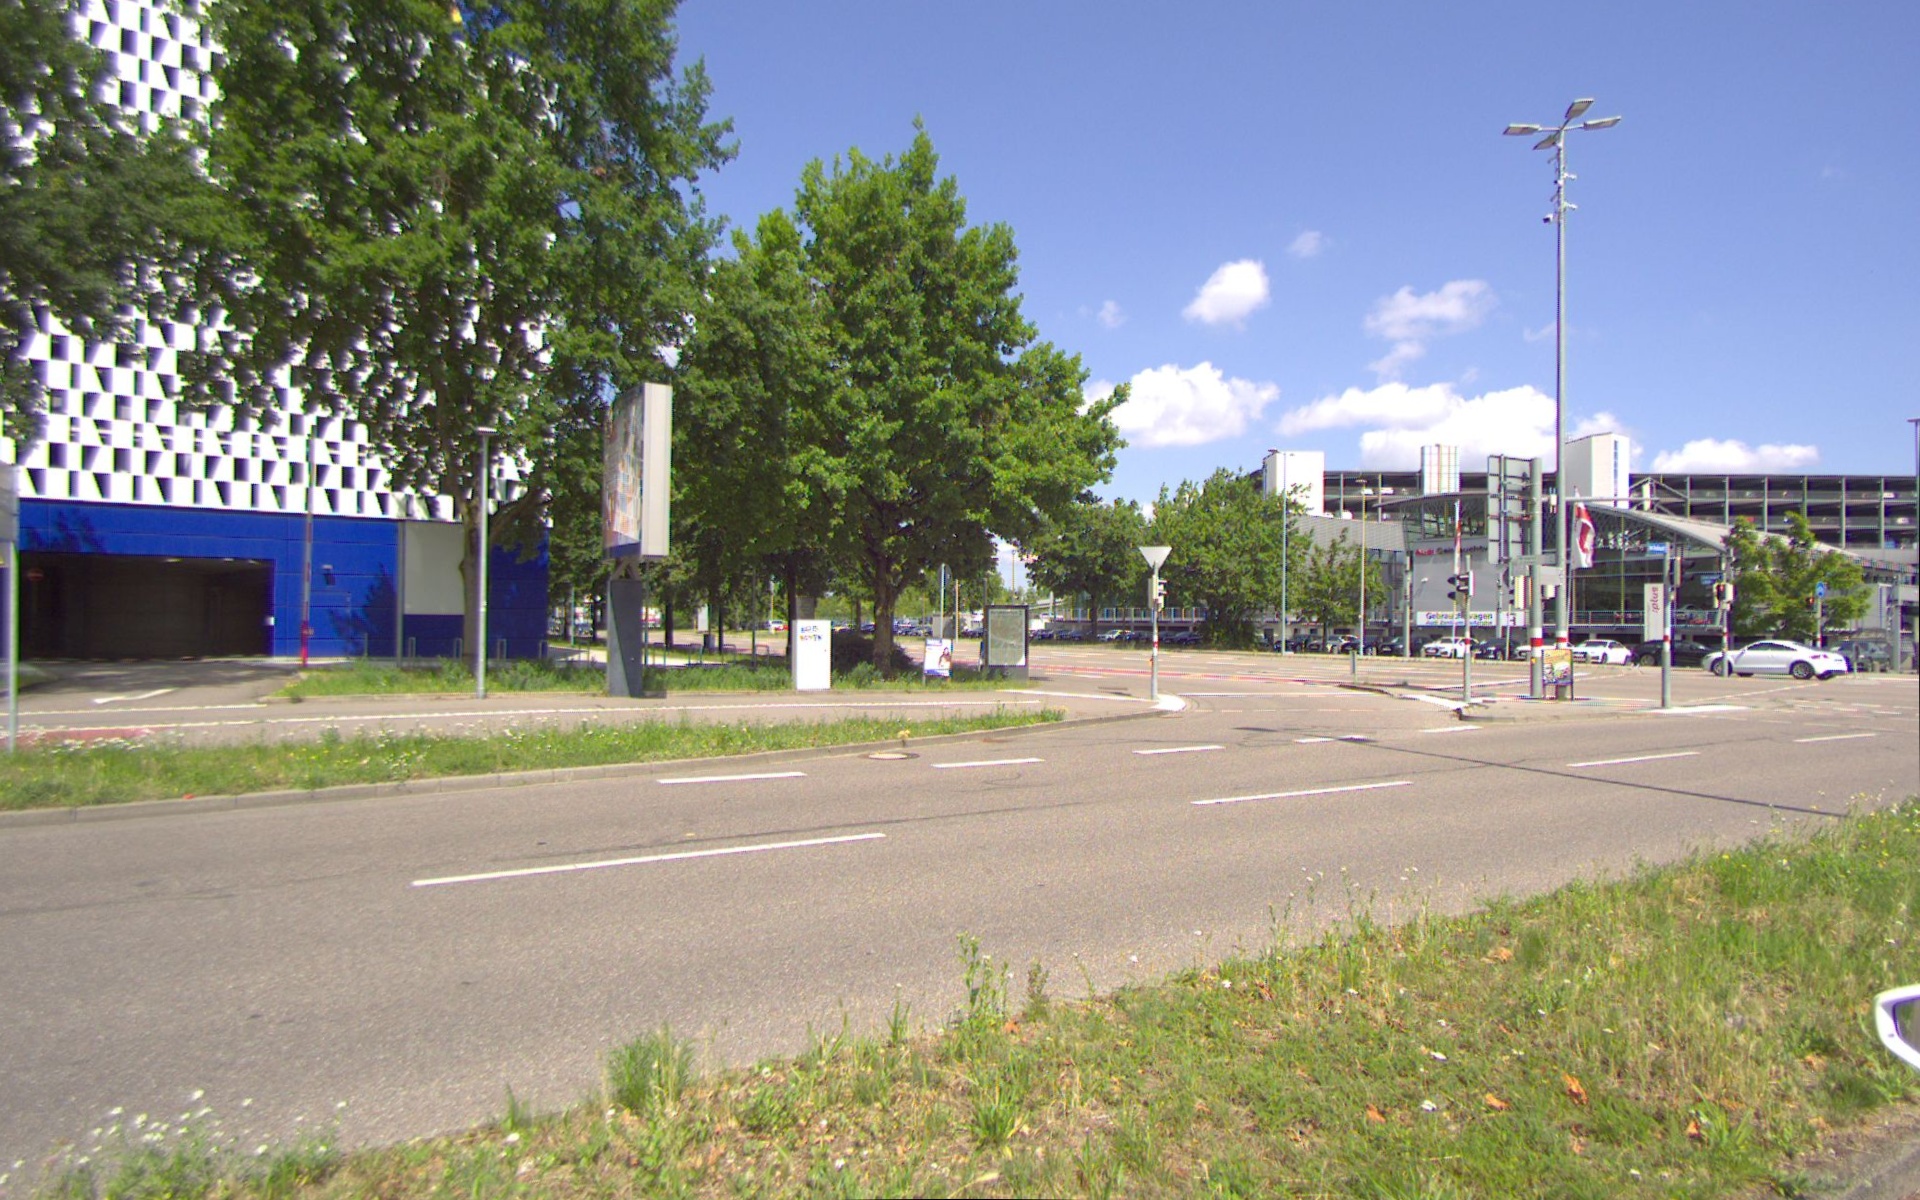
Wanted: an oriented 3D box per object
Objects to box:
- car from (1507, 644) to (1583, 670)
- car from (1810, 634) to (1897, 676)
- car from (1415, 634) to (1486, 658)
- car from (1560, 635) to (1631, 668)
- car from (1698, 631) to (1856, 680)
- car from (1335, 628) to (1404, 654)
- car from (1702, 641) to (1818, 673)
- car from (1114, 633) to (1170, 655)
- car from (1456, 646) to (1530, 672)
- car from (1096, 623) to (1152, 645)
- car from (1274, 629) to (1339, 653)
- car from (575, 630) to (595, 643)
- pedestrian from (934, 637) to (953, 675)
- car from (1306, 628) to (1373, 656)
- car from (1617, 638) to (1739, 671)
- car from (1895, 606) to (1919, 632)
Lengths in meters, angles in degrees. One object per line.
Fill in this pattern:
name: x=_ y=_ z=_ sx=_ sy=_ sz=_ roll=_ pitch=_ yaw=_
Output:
car: x=32.570 y=3.167 z=55.890 sx=4.544 sy=1.314 sz=1.889 roll=3 pitch=-1 yaw=-35
car: x=39.883 y=2.450 z=44.803 sx=4.544 sy=1.700 sz=1.889 roll=3 pitch=-1 yaw=-35
car: x=29.422 y=2.760 z=60.210 sx=4.544 sy=1.314 sz=1.889 roll=3 pitch=-1 yaw=-35
car: x=33.824 y=2.754 z=53.426 sx=3.961 sy=1.483 sz=1.779 roll=6 pitch=-4 yaw=-35
car: x=29.087 y=1.948 z=35.914 sx=1.835 sy=1.461 sz=3.977 roll=3 pitch=-1 yaw=-23
car: x=26.351 y=2.653 z=64.622 sx=4.545 sy=1.402 sz=1.889 roll=5 pitch=-2 yaw=-35
car: x=44.388 y=3.142 z=55.818 sx=1.966 sy=1.530 sz=4.710 roll=6 pitch=-4 yaw=-34
car: x=15.025 y=3.642 z=82.751 sx=4.544 sy=1.700 sz=1.889 roll=3 pitch=-1 yaw=-35
car: x=30.853 y=3.411 z=58.074 sx=4.544 sy=1.314 sz=1.889 roll=3 pitch=-1 yaw=-35
car: x=13.826 y=2.883 z=84.495 sx=4.544 sy=1.700 sz=1.889 roll=3 pitch=-1 yaw=-35
car: x=23.749 y=2.827 z=68.835 sx=4.545 sy=1.423 sz=1.889 roll=4 pitch=-2 yaw=-35
car: x=-48.545 y=4.707 z=130.016 sx=1.872 sy=1.575 sz=4.555 roll=1 pitch=-2 yaw=-27
pedestrian: x=-0.707 y=2.383 z=42.707 sx=0.499 sy=1.576 sz=0.753 roll=1 pitch=-1 yaw=-34
car: x=25.183 y=2.783 z=66.590 sx=4.546 sy=1.423 sz=1.889 roll=6 pitch=-3 yaw=-35
car: x=36.340 y=2.740 z=50.935 sx=1.778 sy=1.483 sz=4.710 roll=6 pitch=-4 yaw=-34
car: x=72.635 y=1.469 z=74.564 sx=1.748 sy=1.825 sz=4.412 roll=3 pitch=-1 yaw=-35
